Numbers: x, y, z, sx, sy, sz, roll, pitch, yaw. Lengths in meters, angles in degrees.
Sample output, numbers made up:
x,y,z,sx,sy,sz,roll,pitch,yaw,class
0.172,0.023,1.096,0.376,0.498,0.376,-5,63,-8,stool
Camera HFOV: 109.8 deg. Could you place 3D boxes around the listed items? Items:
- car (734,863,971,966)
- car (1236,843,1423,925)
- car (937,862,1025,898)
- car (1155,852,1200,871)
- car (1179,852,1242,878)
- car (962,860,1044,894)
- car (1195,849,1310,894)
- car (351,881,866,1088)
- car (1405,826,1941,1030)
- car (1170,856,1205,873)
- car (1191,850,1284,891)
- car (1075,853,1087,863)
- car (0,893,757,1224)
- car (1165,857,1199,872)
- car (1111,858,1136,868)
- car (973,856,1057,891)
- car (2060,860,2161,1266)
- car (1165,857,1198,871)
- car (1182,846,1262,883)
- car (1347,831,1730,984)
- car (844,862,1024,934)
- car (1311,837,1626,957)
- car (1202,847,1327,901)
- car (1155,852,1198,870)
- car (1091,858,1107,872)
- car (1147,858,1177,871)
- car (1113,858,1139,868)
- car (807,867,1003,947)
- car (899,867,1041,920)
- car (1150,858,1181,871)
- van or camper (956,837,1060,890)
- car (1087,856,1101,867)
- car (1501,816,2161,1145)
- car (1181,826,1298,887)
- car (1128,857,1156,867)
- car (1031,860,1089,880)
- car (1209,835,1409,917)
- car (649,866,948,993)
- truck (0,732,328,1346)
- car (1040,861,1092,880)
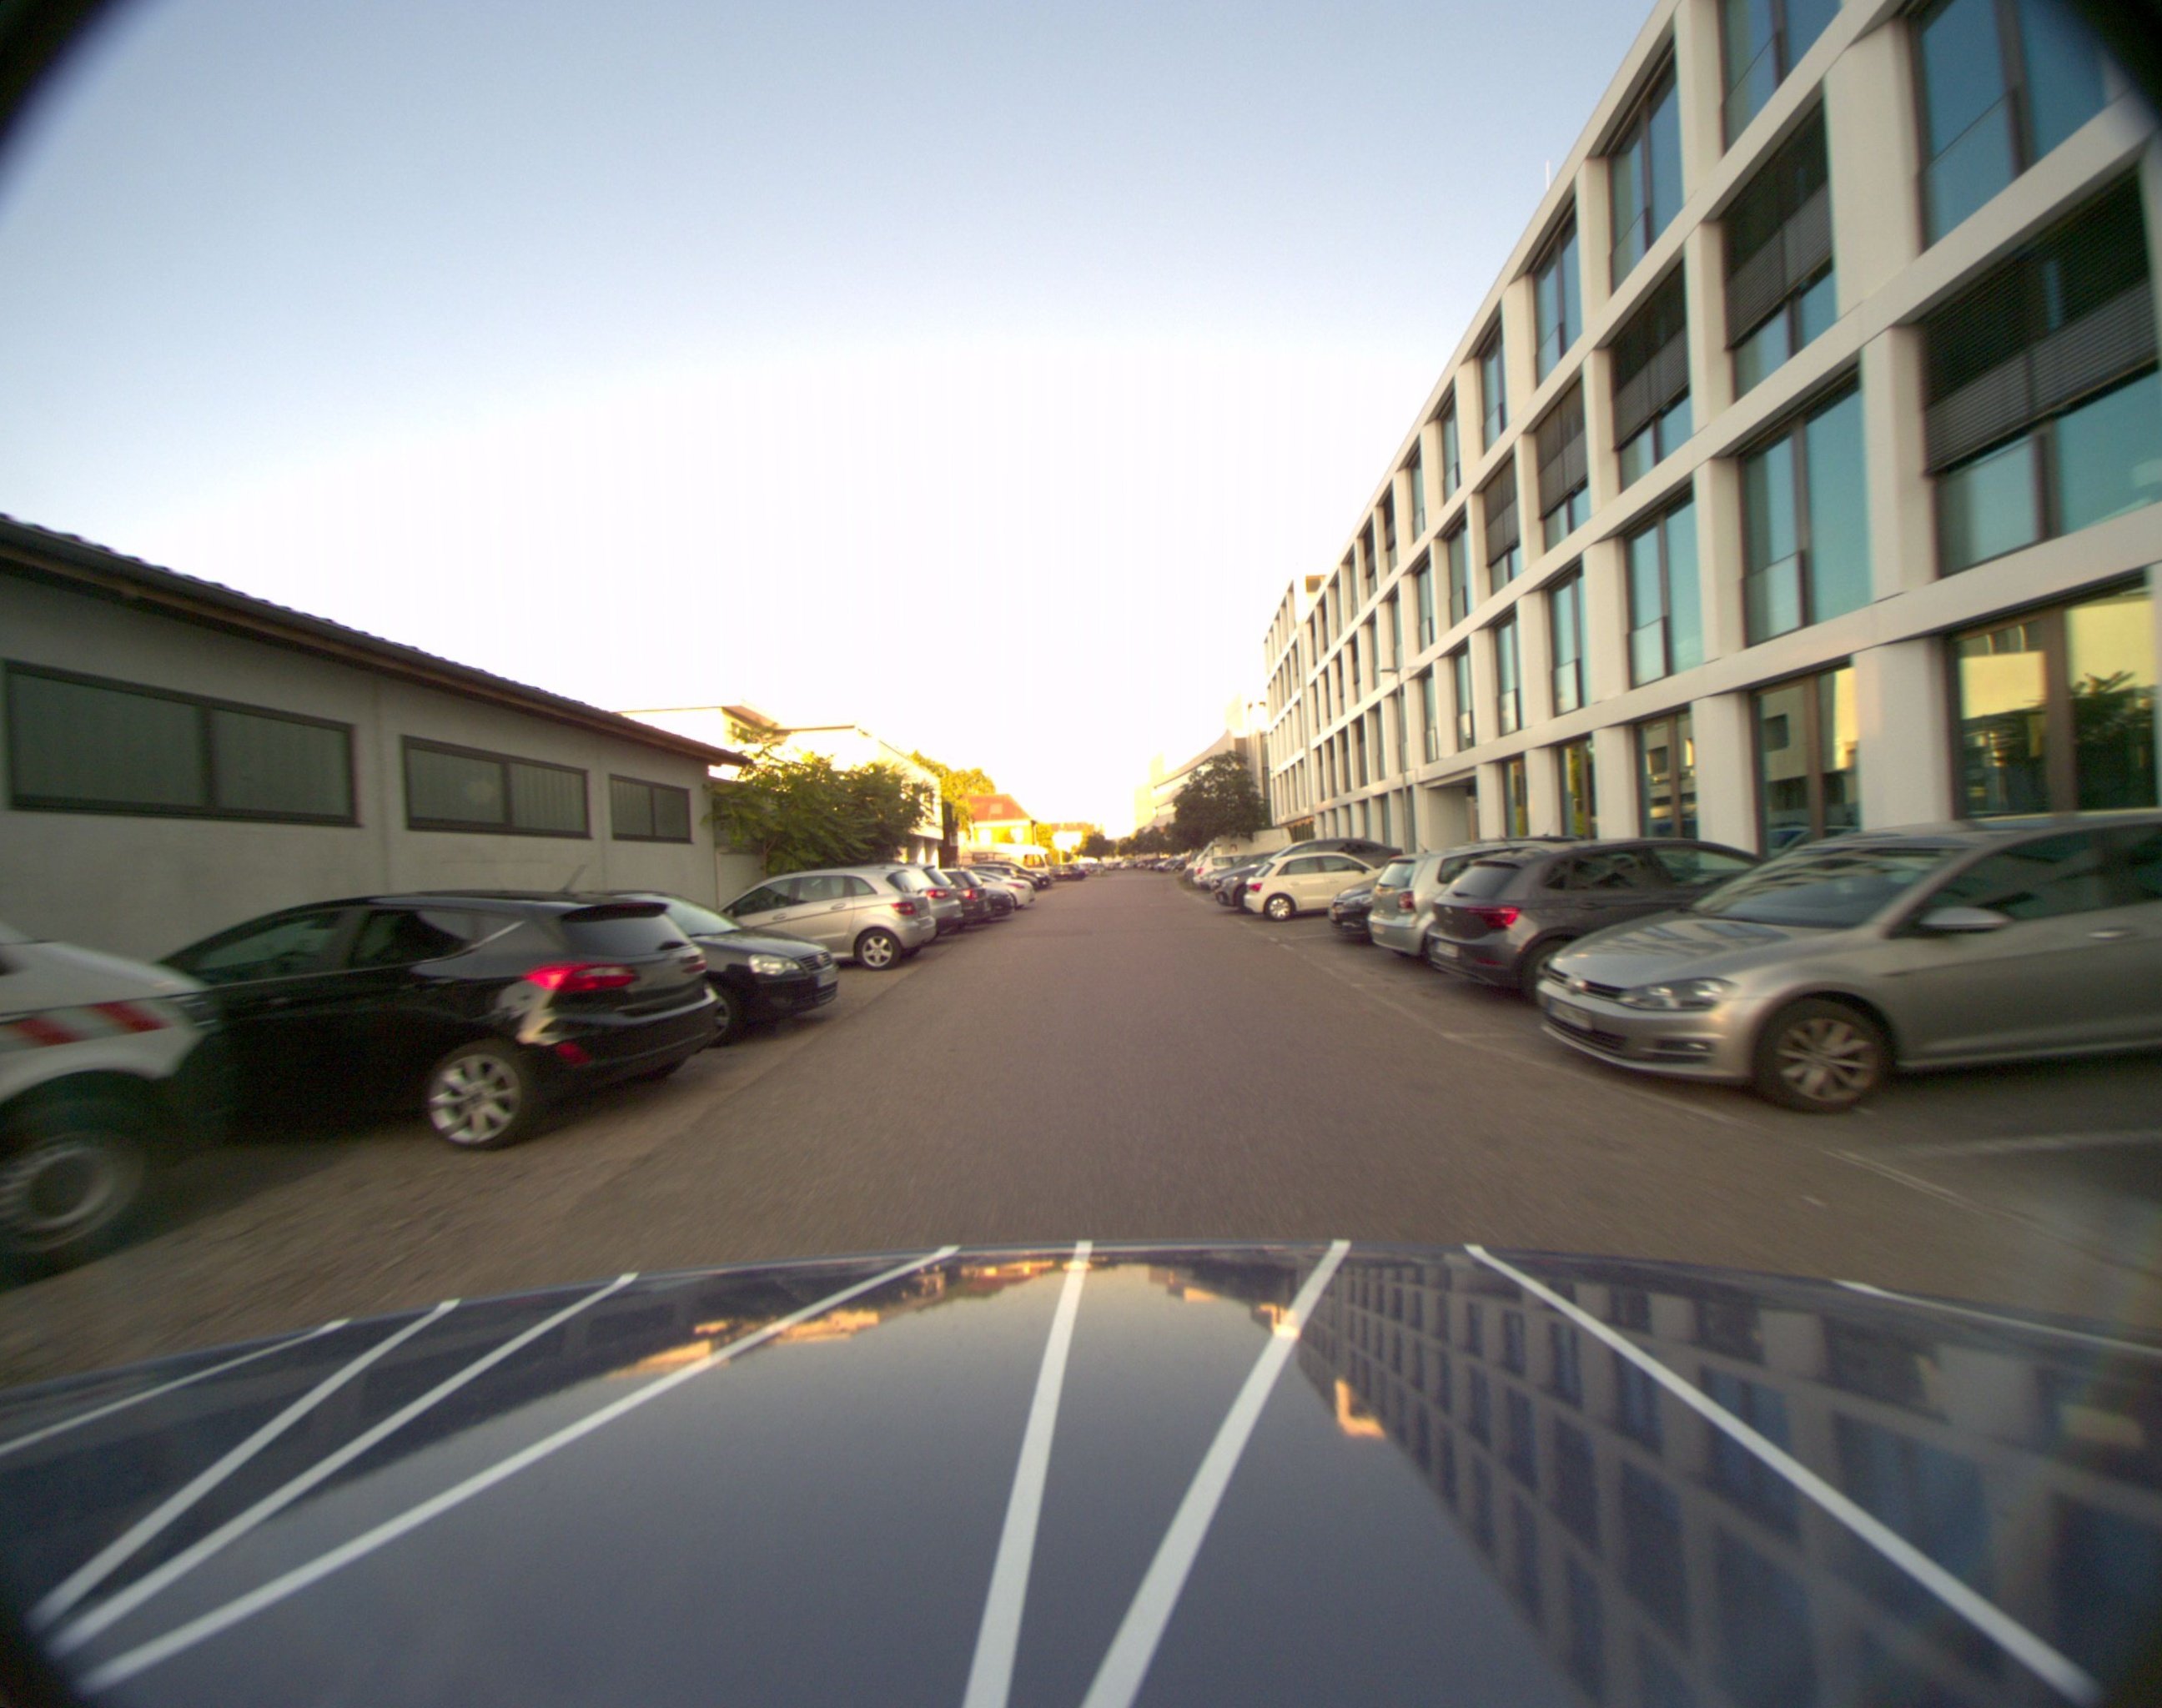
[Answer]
x,y,z,sx,sy,sz,roll,pitch,yaw,class
-4.344,1.127,14.936,3.994,1.609,1.827,-4,0,0,car
5.465,0.659,17.094,3.673,1.502,1.697,-4,-1,8,car
-4.537,1.191,34.899,3.714,1.470,1.712,-2,0,2,car
11.772,0.936,92.555,5.082,1.870,1.889,-5,0,-2,car
9.085,0.799,53.592,4.117,1.509,1.845,-4,-1,3,car
-3.994,1.161,39.310,4.014,1.554,1.712,-2,0,-1,car
6.873,0.691,30.824,4.317,1.486,1.795,-4,-1,6,car
-4.309,1.159,7.404,3.768,1.436,1.845,-4,1,2,car
5.342,0.658,7.310,3.662,1.502,1.688,-4,0,5,car
11.827,1.132,84.678,3.654,1.538,1.726,-5,0,4,car
6.818,0.708,33.392,3.716,1.486,1.708,-4,-1,5,car
-0.005,0.645,115.219,1.770,1.454,4.368,-2,0,-1,car
-4.471,1.179,5.003,3.768,1.526,1.892,-4,-1,4,car
11.600,1.186,87.279,3.654,1.416,1.726,-5,0,4,car
7.420,1.593,133.255,4.027,1.340,1.798,-5,0,-7,car
-3.620,1.076,42.279,4.249,1.731,1.969,-2,0,8,car
4.501,0.683,0.763,1.652,1.430,4.203,-7,0,4,car
11.836,1.193,89.917,3.654,1.416,1.726,-5,0,3,car
7.975,0.606,43.315,4.118,1.806,1.816,-4,0,1,car
5.485,0.635,9.528,3.662,1.502,1.688,-4,0,5,car
-3.806,1.131,20.125,4.212,1.494,1.890,-4,1,5,car
5.904,0.652,12.017,3.973,1.502,1.797,-4,-1,6,car
6.142,0.660,25.738,3.790,1.513,1.694,-4,0,3,car
12.212,0.936,97.569,5.082,1.816,1.889,-5,0,-2,car
2.057,1.266,86.768,1.680,1.454,4.369,-2,0,3,car
11.180,1.459,104.825,3.811,1.352,1.799,-5,0,-2,car
7.732,1.569,130.755,4.027,1.340,1.798,-5,0,-7,car
-3.994,1.192,17.675,3.993,1.437,1.827,-4,1,4,car
-3.595,1.275,25.010,4.211,1.359,1.824,-4,0,7,car
11.325,1.442,102.254,3.811,1.352,1.799,-5,0,-2,car
-4.278,0.538,45.328,5.794,2.847,2.487,-2,1,2,van or camper
1.772,0.999,105.501,1.770,1.454,4.368,-2,0,-1,car
5.064,0.647,4.650,3.934,1.502,1.688,-4,-1,6,car
7.841,0.142,38.006,5.392,2.617,2.079,-4,0,6,car
9.708,1.250,120.518,4.027,1.340,1.798,-5,0,-7,car
-1.591,1.223,59.066,4.326,1.325,1.896,-2,0,1,car
5.727,0.550,19.658,4.627,1.696,2.006,-4,-1,8,car
-4.390,1.144,12.306,3.993,1.600,1.939,-4,0,2,car
-5.008,0.658,1.013,2.102,2.187,5.713,-3,-1,3,truck
-1.165,1.345,61.467,4.065,1.399,1.896,-2,-1,1,car
